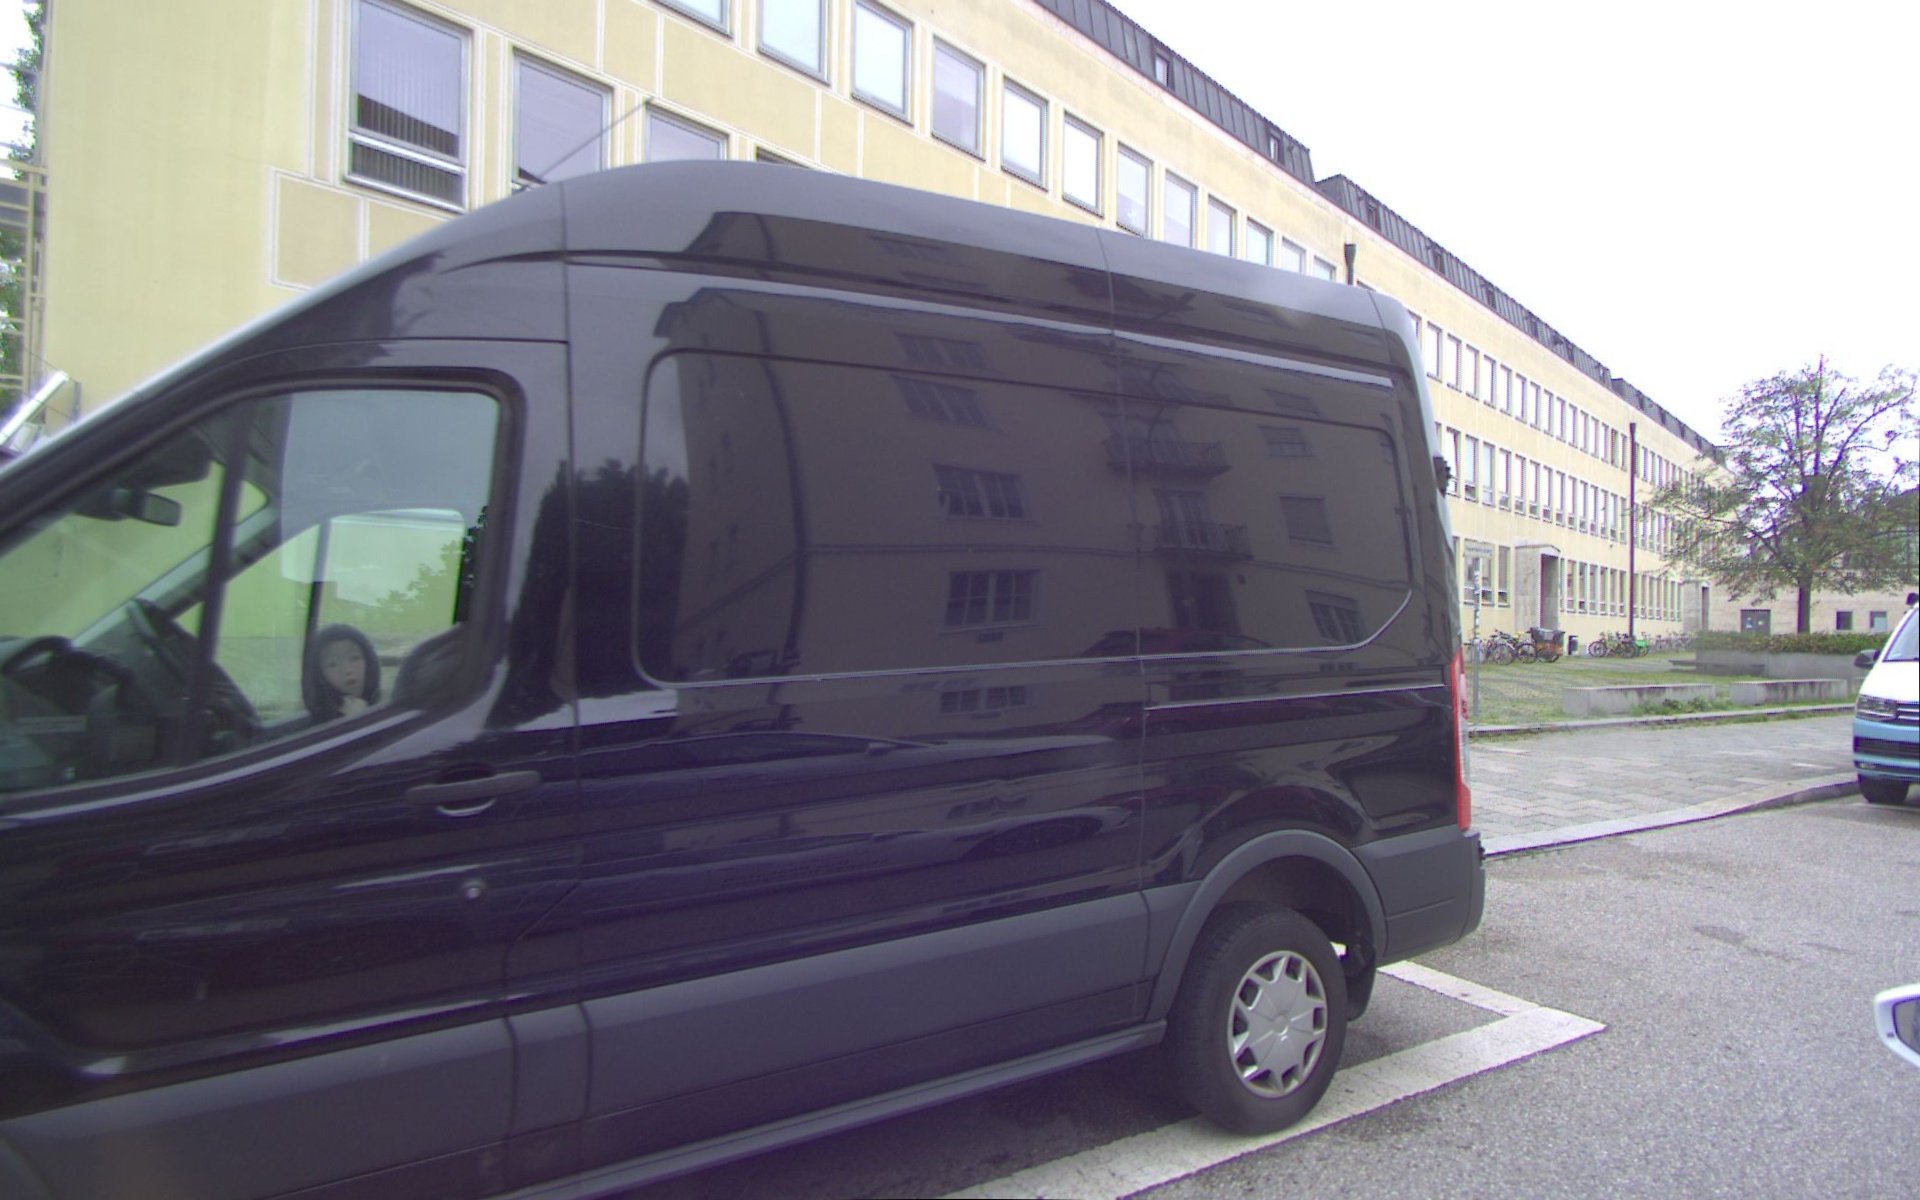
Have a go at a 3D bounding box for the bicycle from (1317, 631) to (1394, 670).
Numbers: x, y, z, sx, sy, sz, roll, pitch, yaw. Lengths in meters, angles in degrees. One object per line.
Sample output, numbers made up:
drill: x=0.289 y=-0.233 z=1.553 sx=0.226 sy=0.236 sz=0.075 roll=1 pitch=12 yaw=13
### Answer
bicycle: x=10.983 y=1.393 z=27.930 sx=0.620 sy=1.028 sz=1.931 roll=1 pitch=-1 yaw=-39

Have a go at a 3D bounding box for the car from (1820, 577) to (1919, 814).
car: x=10.349 y=0.863 z=9.584 sx=4.969 sy=2.005 sz=1.917 roll=2 pitch=-3 yaw=-33

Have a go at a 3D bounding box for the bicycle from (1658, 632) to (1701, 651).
bicycle: x=40.538 y=2.327 z=56.596 sx=1.926 sy=1.028 sz=0.622 roll=0 pitch=-1 yaw=44

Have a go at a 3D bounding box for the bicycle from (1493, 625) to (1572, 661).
bicycle: x=21.343 y=1.592 z=37.461 sx=2.408 sy=1.265 sz=1.050 roll=0 pitch=-1 yaw=44

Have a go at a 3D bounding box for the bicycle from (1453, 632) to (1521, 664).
bicycle: x=17.802 y=1.620 z=33.958 sx=1.926 sy=1.028 sz=0.622 roll=0 pitch=-1 yaw=44

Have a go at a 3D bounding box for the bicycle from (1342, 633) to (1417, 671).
bicycle: x=12.045 y=1.484 z=28.880 sx=0.620 sy=1.028 sz=1.931 roll=1 pitch=-1 yaw=-39

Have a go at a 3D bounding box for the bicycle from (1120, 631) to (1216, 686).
bicycle: x=4.270 y=1.185 z=20.724 sx=1.925 sy=1.028 sz=0.578 roll=1 pitch=0 yaw=43

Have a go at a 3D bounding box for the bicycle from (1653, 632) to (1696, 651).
bicycle: x=40.861 y=2.370 z=57.464 sx=0.620 sy=1.028 sz=1.930 roll=1 pitch=-1 yaw=-40

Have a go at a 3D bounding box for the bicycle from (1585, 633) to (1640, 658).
bicycle: x=28.742 y=1.991 z=44.265 sx=0.620 sy=1.028 sz=1.930 roll=1 pitch=-1 yaw=-40

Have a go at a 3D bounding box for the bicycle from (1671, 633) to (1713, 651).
bicycle: x=43.268 y=2.493 z=59.388 sx=0.621 sy=1.028 sz=1.927 roll=2 pitch=-1 yaw=-44

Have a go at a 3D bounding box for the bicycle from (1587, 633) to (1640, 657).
bicycle: x=29.232 y=2.009 z=44.939 sx=0.621 sy=1.028 sz=1.928 roll=2 pitch=-1 yaw=-43

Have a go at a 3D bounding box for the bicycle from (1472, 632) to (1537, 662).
bicycle: x=19.372 y=1.666 z=35.749 sx=1.926 sy=1.028 sz=0.622 roll=0 pitch=-1 yaw=44

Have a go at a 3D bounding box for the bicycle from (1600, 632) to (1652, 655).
bicycle: x=31.077 y=2.029 z=46.900 sx=0.621 sy=1.028 sz=1.928 roll=2 pitch=-1 yaw=-43

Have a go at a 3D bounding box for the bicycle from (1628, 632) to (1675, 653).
bicycle: x=36.390 y=2.220 z=52.883 sx=0.619 sy=1.028 sz=1.933 roll=1 pitch=-1 yaw=-36

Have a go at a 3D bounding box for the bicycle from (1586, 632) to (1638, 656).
bicycle: x=29.885 y=2.019 z=46.036 sx=0.621 sy=1.028 sz=1.928 roll=2 pitch=-1 yaw=-43

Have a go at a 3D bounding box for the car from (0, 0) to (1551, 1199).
car: x=-0.960 y=0.242 z=3.121 sx=5.584 sy=2.680 sz=2.288 roll=1 pitch=-3 yaw=-29
